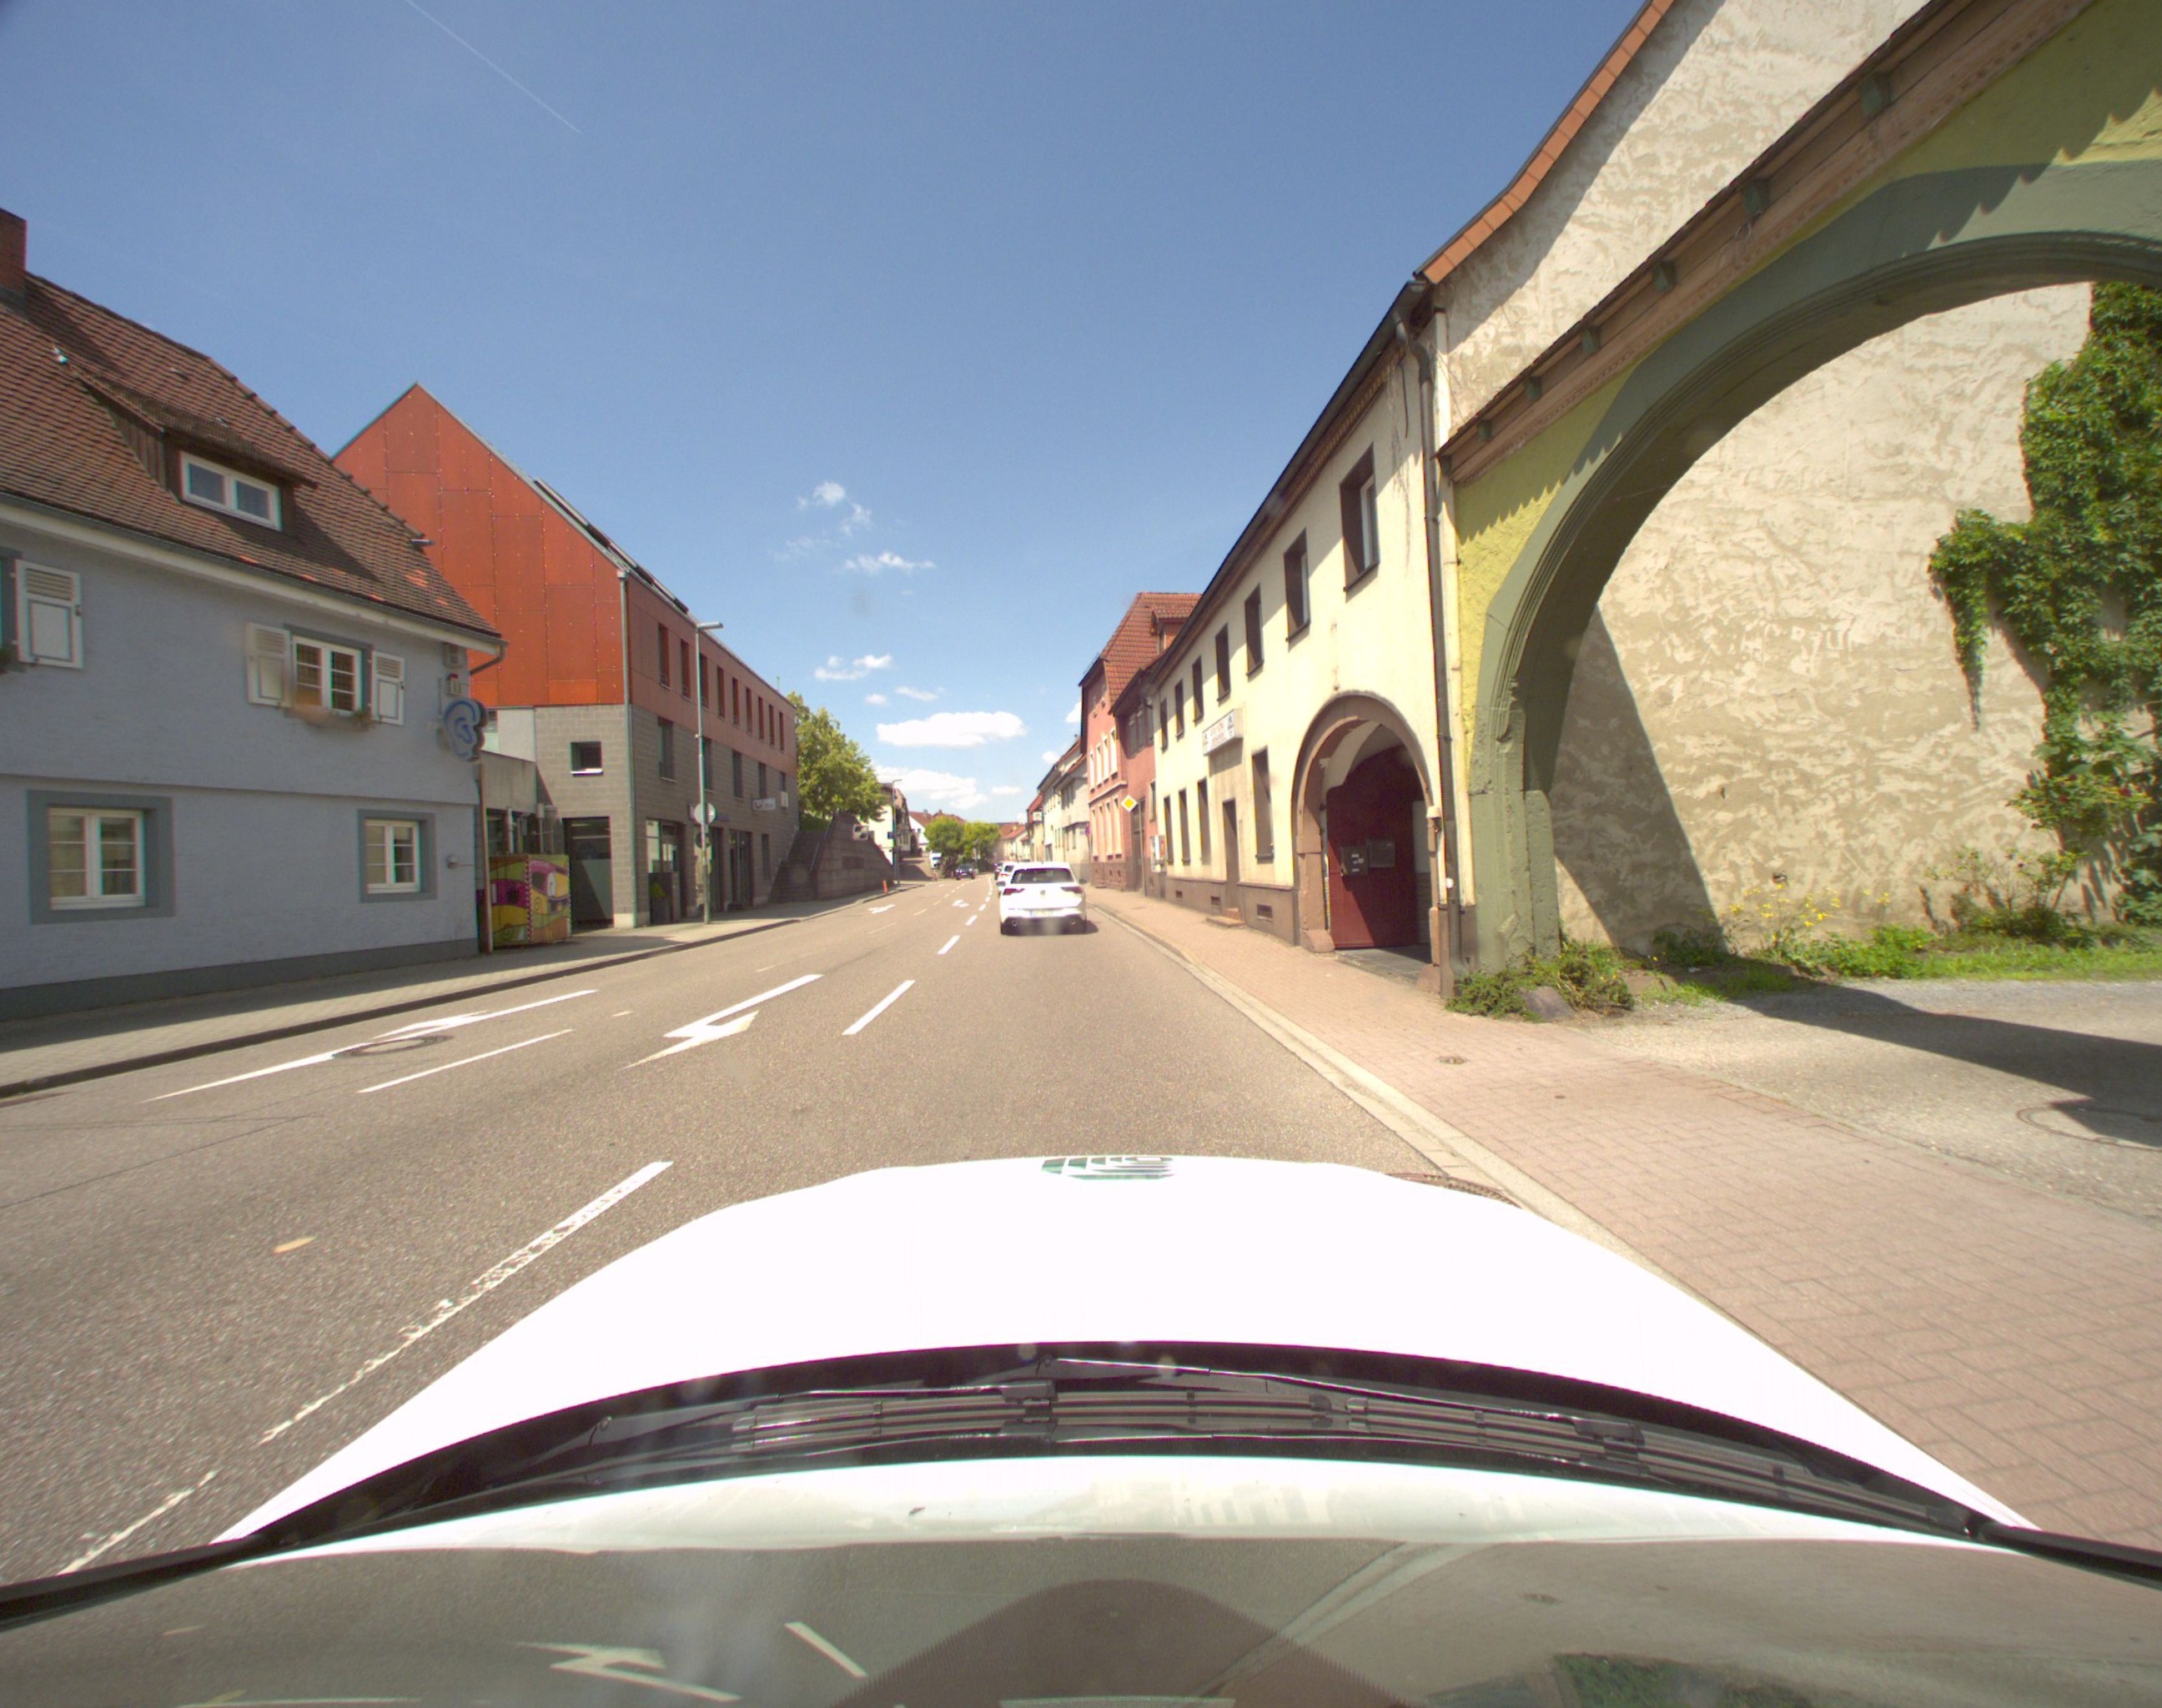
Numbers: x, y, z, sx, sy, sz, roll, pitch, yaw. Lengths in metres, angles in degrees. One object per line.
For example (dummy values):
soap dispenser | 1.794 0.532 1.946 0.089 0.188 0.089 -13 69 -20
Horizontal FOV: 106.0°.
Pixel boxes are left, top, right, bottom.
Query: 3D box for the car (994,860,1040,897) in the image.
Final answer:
car | -2.711 1.020 34.478 1.805 1.468 3.993 -1 -1 -5

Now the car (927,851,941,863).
car | -20.514 0.388 113.745 1.575 1.361 3.848 -2 5 -7

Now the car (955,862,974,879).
car | -11.746 1.666 82.432 1.668 1.657 4.009 -2 0 -6

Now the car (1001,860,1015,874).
car | -9.666 1.653 108.106 1.773 1.765 3.992 -2 0 -5

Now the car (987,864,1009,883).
car | -7.286 1.695 71.689 1.772 1.538 3.993 -2 0 -4

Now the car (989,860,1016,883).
car | -5.480 1.212 56.605 1.806 1.468 3.990 -1 -1 -7

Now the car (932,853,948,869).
car | -17.685 0.892 102.057 1.692 1.542 3.848 -2 5 -7

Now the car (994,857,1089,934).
car | -0.774 0.827 17.708 1.802 1.468 3.998 -1 -1 0
